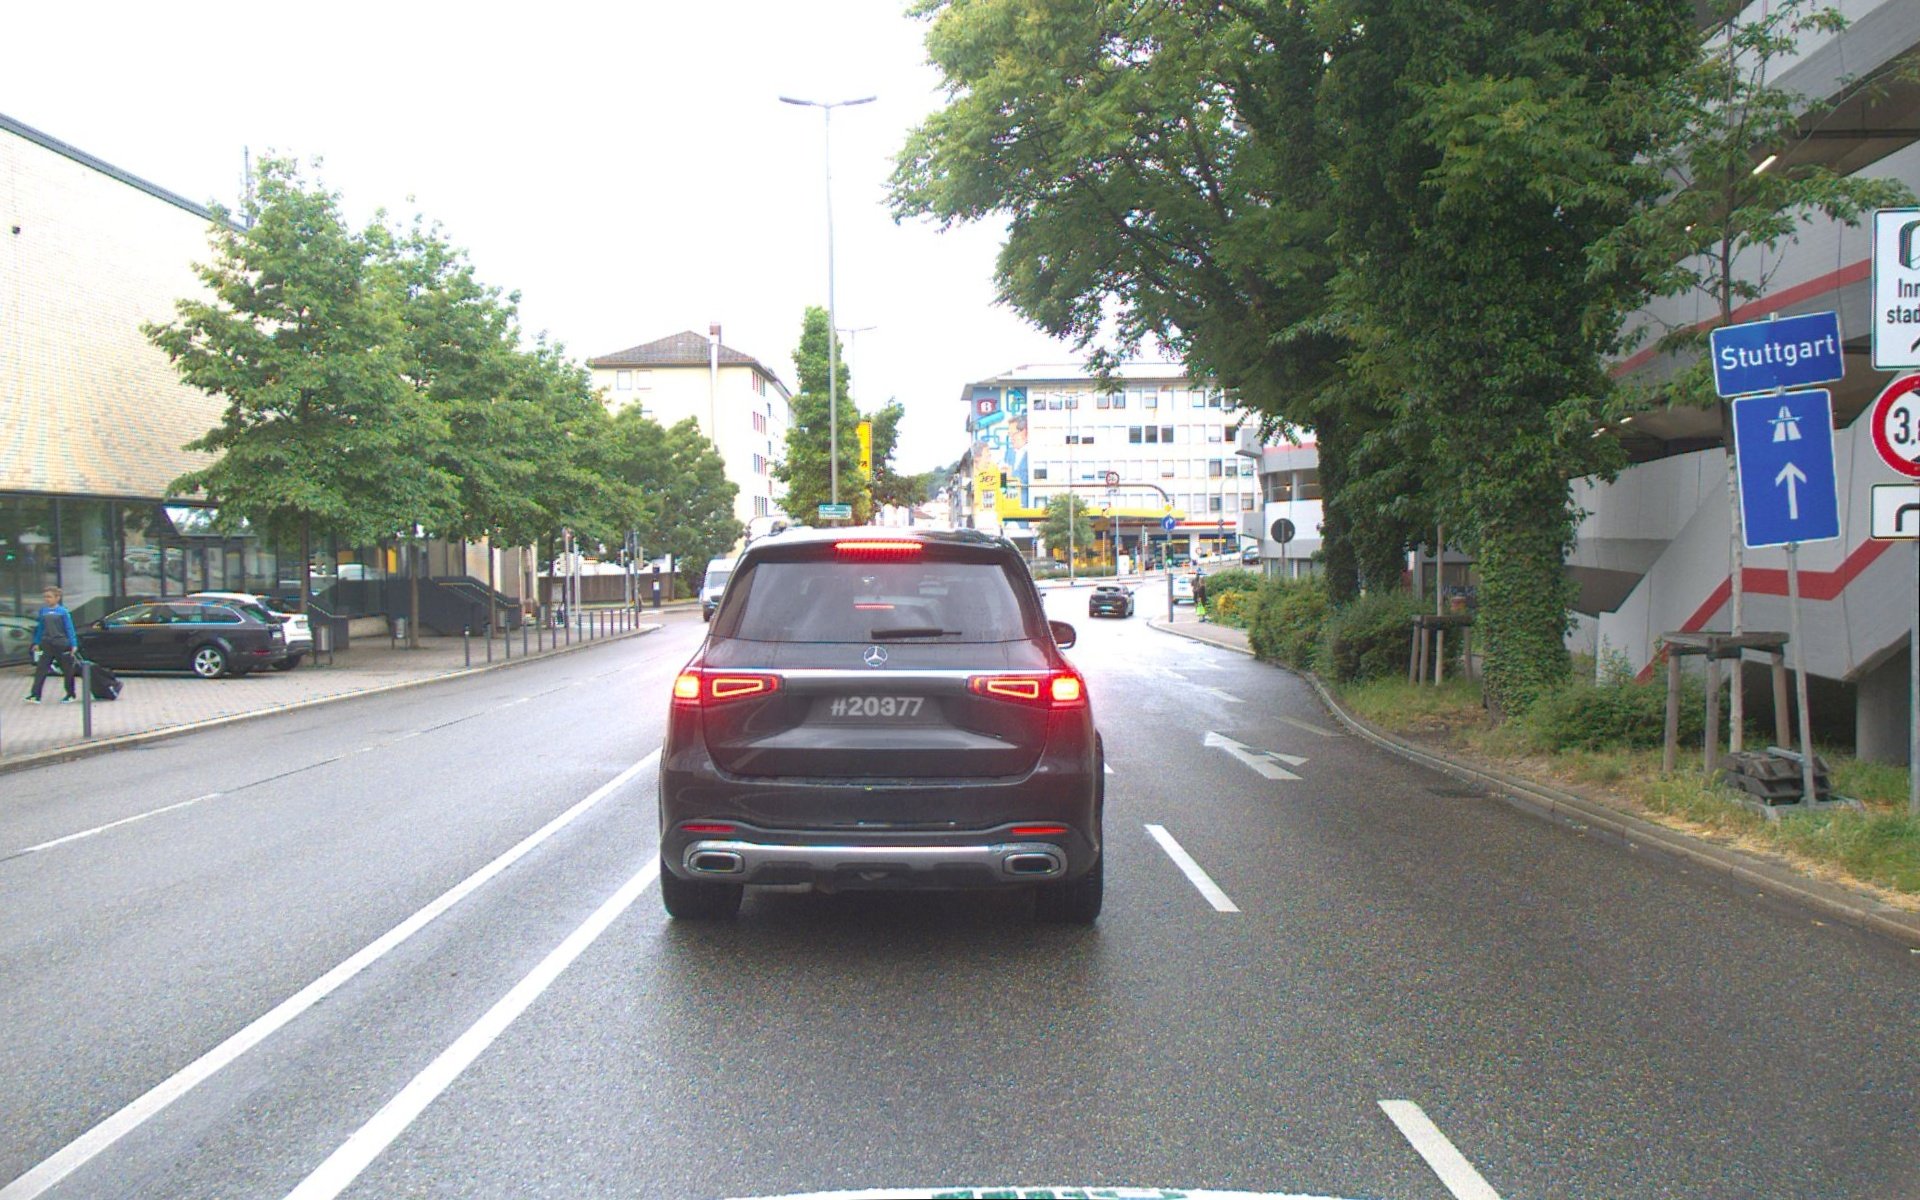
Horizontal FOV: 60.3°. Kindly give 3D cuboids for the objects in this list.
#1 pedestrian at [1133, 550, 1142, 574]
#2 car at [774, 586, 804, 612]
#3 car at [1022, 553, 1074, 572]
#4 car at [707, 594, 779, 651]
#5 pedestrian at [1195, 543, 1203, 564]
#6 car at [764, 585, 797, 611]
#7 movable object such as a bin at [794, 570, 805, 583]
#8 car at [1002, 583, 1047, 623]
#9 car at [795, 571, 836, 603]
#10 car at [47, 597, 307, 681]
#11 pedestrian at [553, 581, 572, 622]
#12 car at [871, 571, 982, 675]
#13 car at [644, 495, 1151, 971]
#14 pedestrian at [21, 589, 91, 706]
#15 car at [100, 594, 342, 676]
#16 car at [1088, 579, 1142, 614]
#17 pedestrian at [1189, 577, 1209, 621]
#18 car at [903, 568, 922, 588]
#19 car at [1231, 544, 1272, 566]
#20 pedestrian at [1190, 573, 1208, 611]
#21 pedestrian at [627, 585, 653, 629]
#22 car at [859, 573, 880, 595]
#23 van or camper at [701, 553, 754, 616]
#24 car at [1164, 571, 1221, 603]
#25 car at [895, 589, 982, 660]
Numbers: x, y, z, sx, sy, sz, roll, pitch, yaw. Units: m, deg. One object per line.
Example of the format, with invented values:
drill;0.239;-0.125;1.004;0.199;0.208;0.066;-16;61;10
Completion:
pedestrian;12.939;-2.733;120.477;0.560;1.727;0.631;1;-1;0
car;-11.722;-0.049;113.429;1.868;1.733;3.997;1;0;-4
car;6.844;-2.891;128.662;1.724;1.400;3.935;-3;2;-44
car;-6.261;0.624;48.097;1.706;1.496;3.880;-2;0;-3
pedestrian;19.805;-3.839;137.018;0.515;1.757;0.689;0;1;26
car;-10.922;-0.110;100.850;1.761;1.521;3.801;1;0;-3
movable object such as a bin;-13.668;-1.979;140.890;0.891;1.056;0.844;1;0;0
car;2.715;0.119;69.228;1.758;1.552;4.058;1;1;3
car;-7.314;-0.634;83.934;1.846;1.524;4.559;-2;0;-3
car;-15.078;0.748;32.061;4.097;1.521;1.997;1;0;-8
pedestrian;-16.681;0.080;69.460;0.630;1.695;1.017;1;0;-7
car;-0.628;0.428;31.684;1.953;1.832;3.999;1;0;-1
car;-0.269;0.529;8.468;1.953;1.832;3.999;1;0;-1
pedestrian;-13.684;0.709;25.046;0.621;1.744;0.705;1;-1;2
car;-15.279;0.711;34.361;4.090;1.574;2.000;1;0;0
car;6.988;-0.128;74.320;1.904;1.512;4.003;1;0;12
pedestrian;9.448;-0.041;65.490;0.634;1.740;0.470;0;-1;35
car;-5.129;-2.372;180.120;1.953;2.049;4.000;1;0;0
car;24.472;-3.801;138.757;1.958;1.735;3.990;-1;1;33
pedestrian;10.936;-0.377;75.836;0.703;1.720;0.455;1;-1;-7
pedestrian;-13.049;0.287;67.371;0.931;1.734;0.709;1;-1;-18
car;-8.022;-1.419;146.644;1.830;1.871;3.818;1;0;-2
van or camper;-10.411;-0.670;74.340;2.062;2.627;5.900;-2;0;-6
car;12.204;-0.657;86.565;1.720;1.576;3.994;1;0;28
car;-0.504;0.540;38.066;1.869;1.527;3.999;1;0;-1
